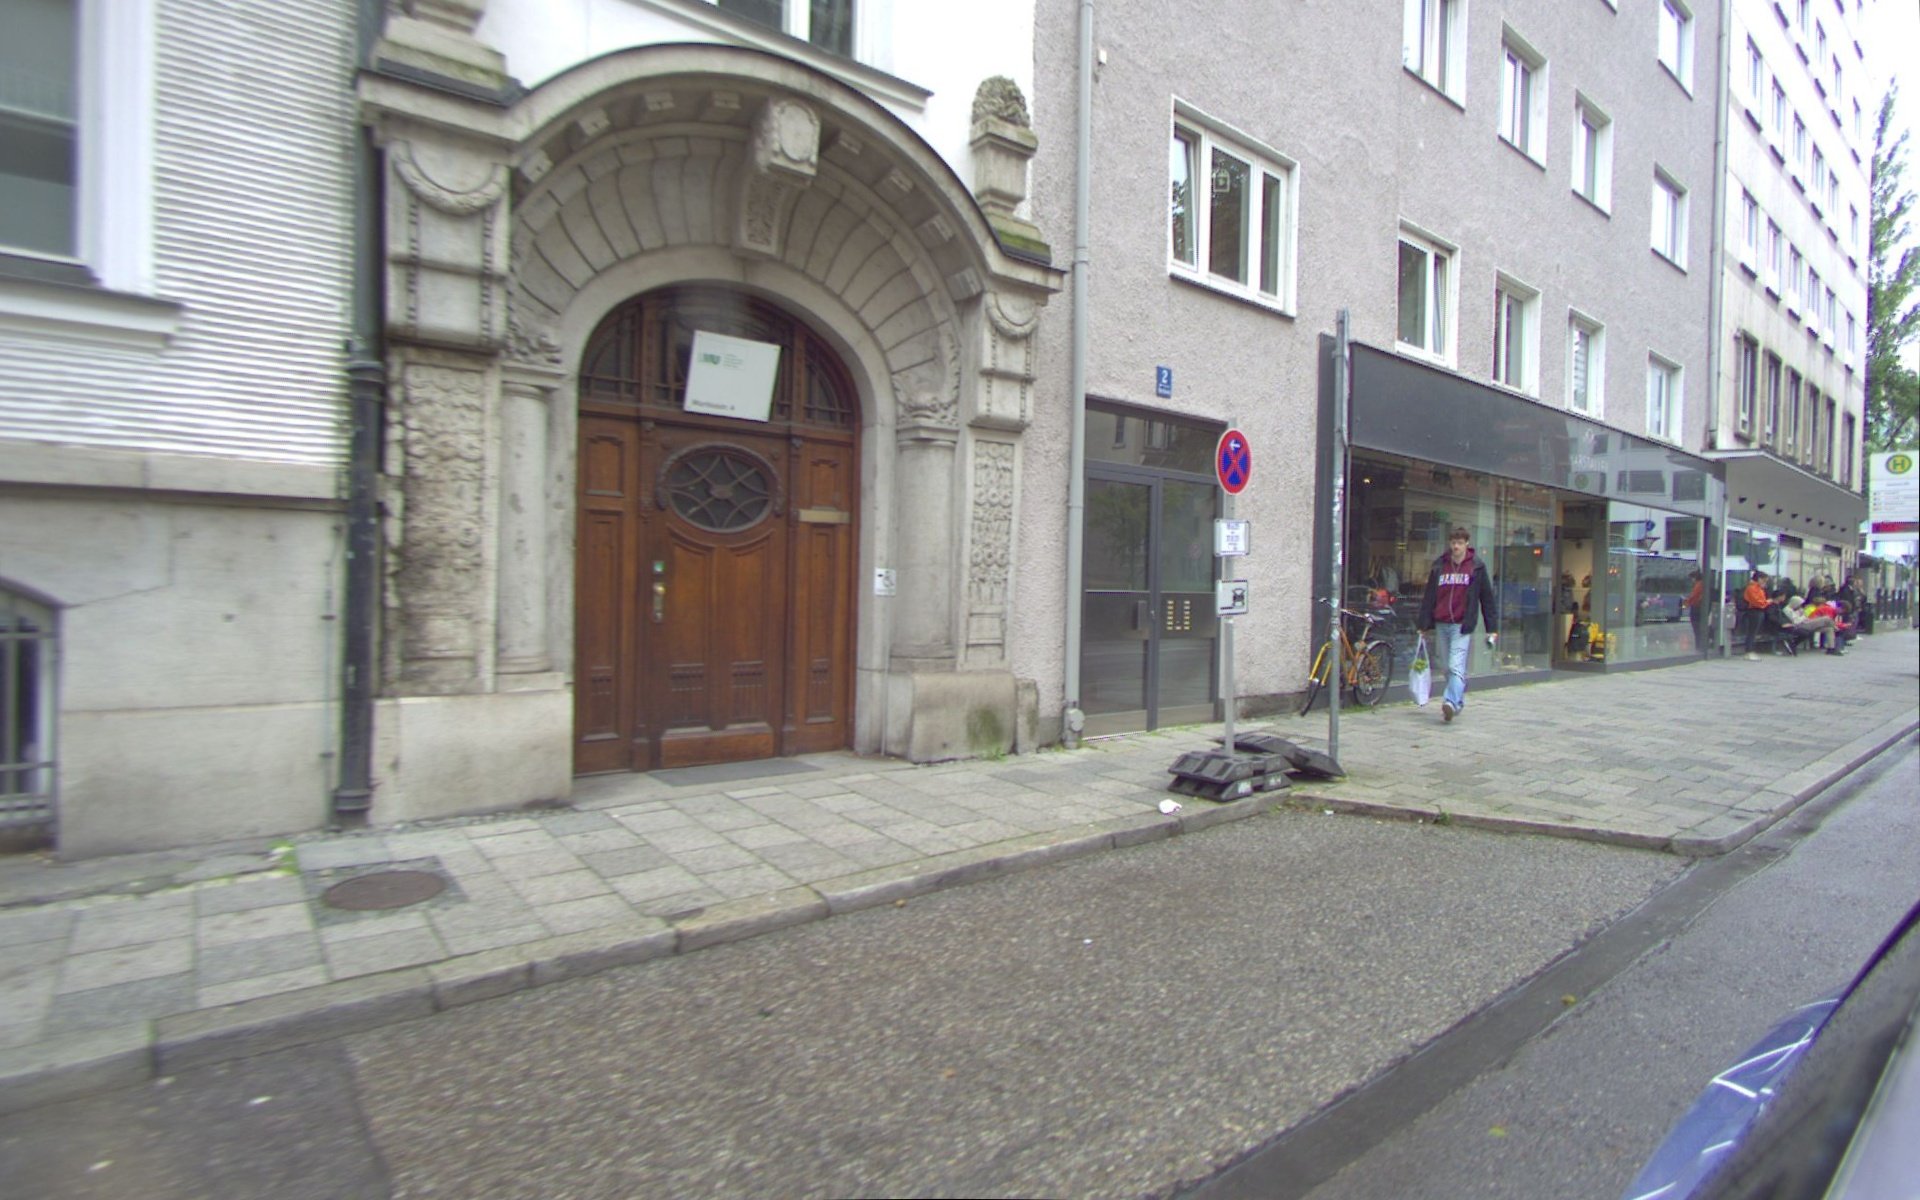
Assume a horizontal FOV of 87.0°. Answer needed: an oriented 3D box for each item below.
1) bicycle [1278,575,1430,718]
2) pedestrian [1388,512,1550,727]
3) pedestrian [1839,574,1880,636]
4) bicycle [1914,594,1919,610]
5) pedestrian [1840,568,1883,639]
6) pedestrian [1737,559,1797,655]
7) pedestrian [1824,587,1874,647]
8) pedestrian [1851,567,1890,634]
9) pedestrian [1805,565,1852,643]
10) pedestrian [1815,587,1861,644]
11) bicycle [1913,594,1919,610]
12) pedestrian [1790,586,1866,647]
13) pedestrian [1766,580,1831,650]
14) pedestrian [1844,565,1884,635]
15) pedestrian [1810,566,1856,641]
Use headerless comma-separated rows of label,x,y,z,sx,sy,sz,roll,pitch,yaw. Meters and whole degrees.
bicycle,3.923,0.415,10.011,1.788,1.275,0.514,0,5,-40
pedestrian,4.962,0.147,9.863,1.158,1.933,0.930,0,4,-40
pedestrian,23.754,0.119,26.731,0.683,1.613,0.659,0,2,-39
bicycle,68.834,0.181,71.423,2.115,1.130,0.728,3,2,41
pedestrian,22.544,0.077,25.317,0.683,1.754,0.659,0,2,-39
pedestrian,15.212,0.113,19.082,0.733,1.754,0.704,0,2,-39
pedestrian,19.514,0.363,22.223,0.574,1.252,0.709,0,2,-39
pedestrian,25.217,0.011,28.023,0.757,1.805,0.659,0,2,-39
pedestrian,19.996,0.075,23.304,0.671,1.754,0.659,0,2,-39
pedestrian,19.731,0.337,22.740,0.487,1.252,0.682,0,2,-39
bicycle,68.100,0.180,70.738,2.115,1.130,0.728,3,2,41
pedestrian,18.613,0.339,21.710,0.656,1.252,1.099,0,2,-39
pedestrian,17.219,0.295,20.785,0.847,1.369,0.862,0,2,-39
pedestrian,24.618,-0.008,27.562,0.683,1.845,0.659,0,2,-39
pedestrian,20.958,0.073,24.292,0.764,1.754,0.659,0,2,-39
